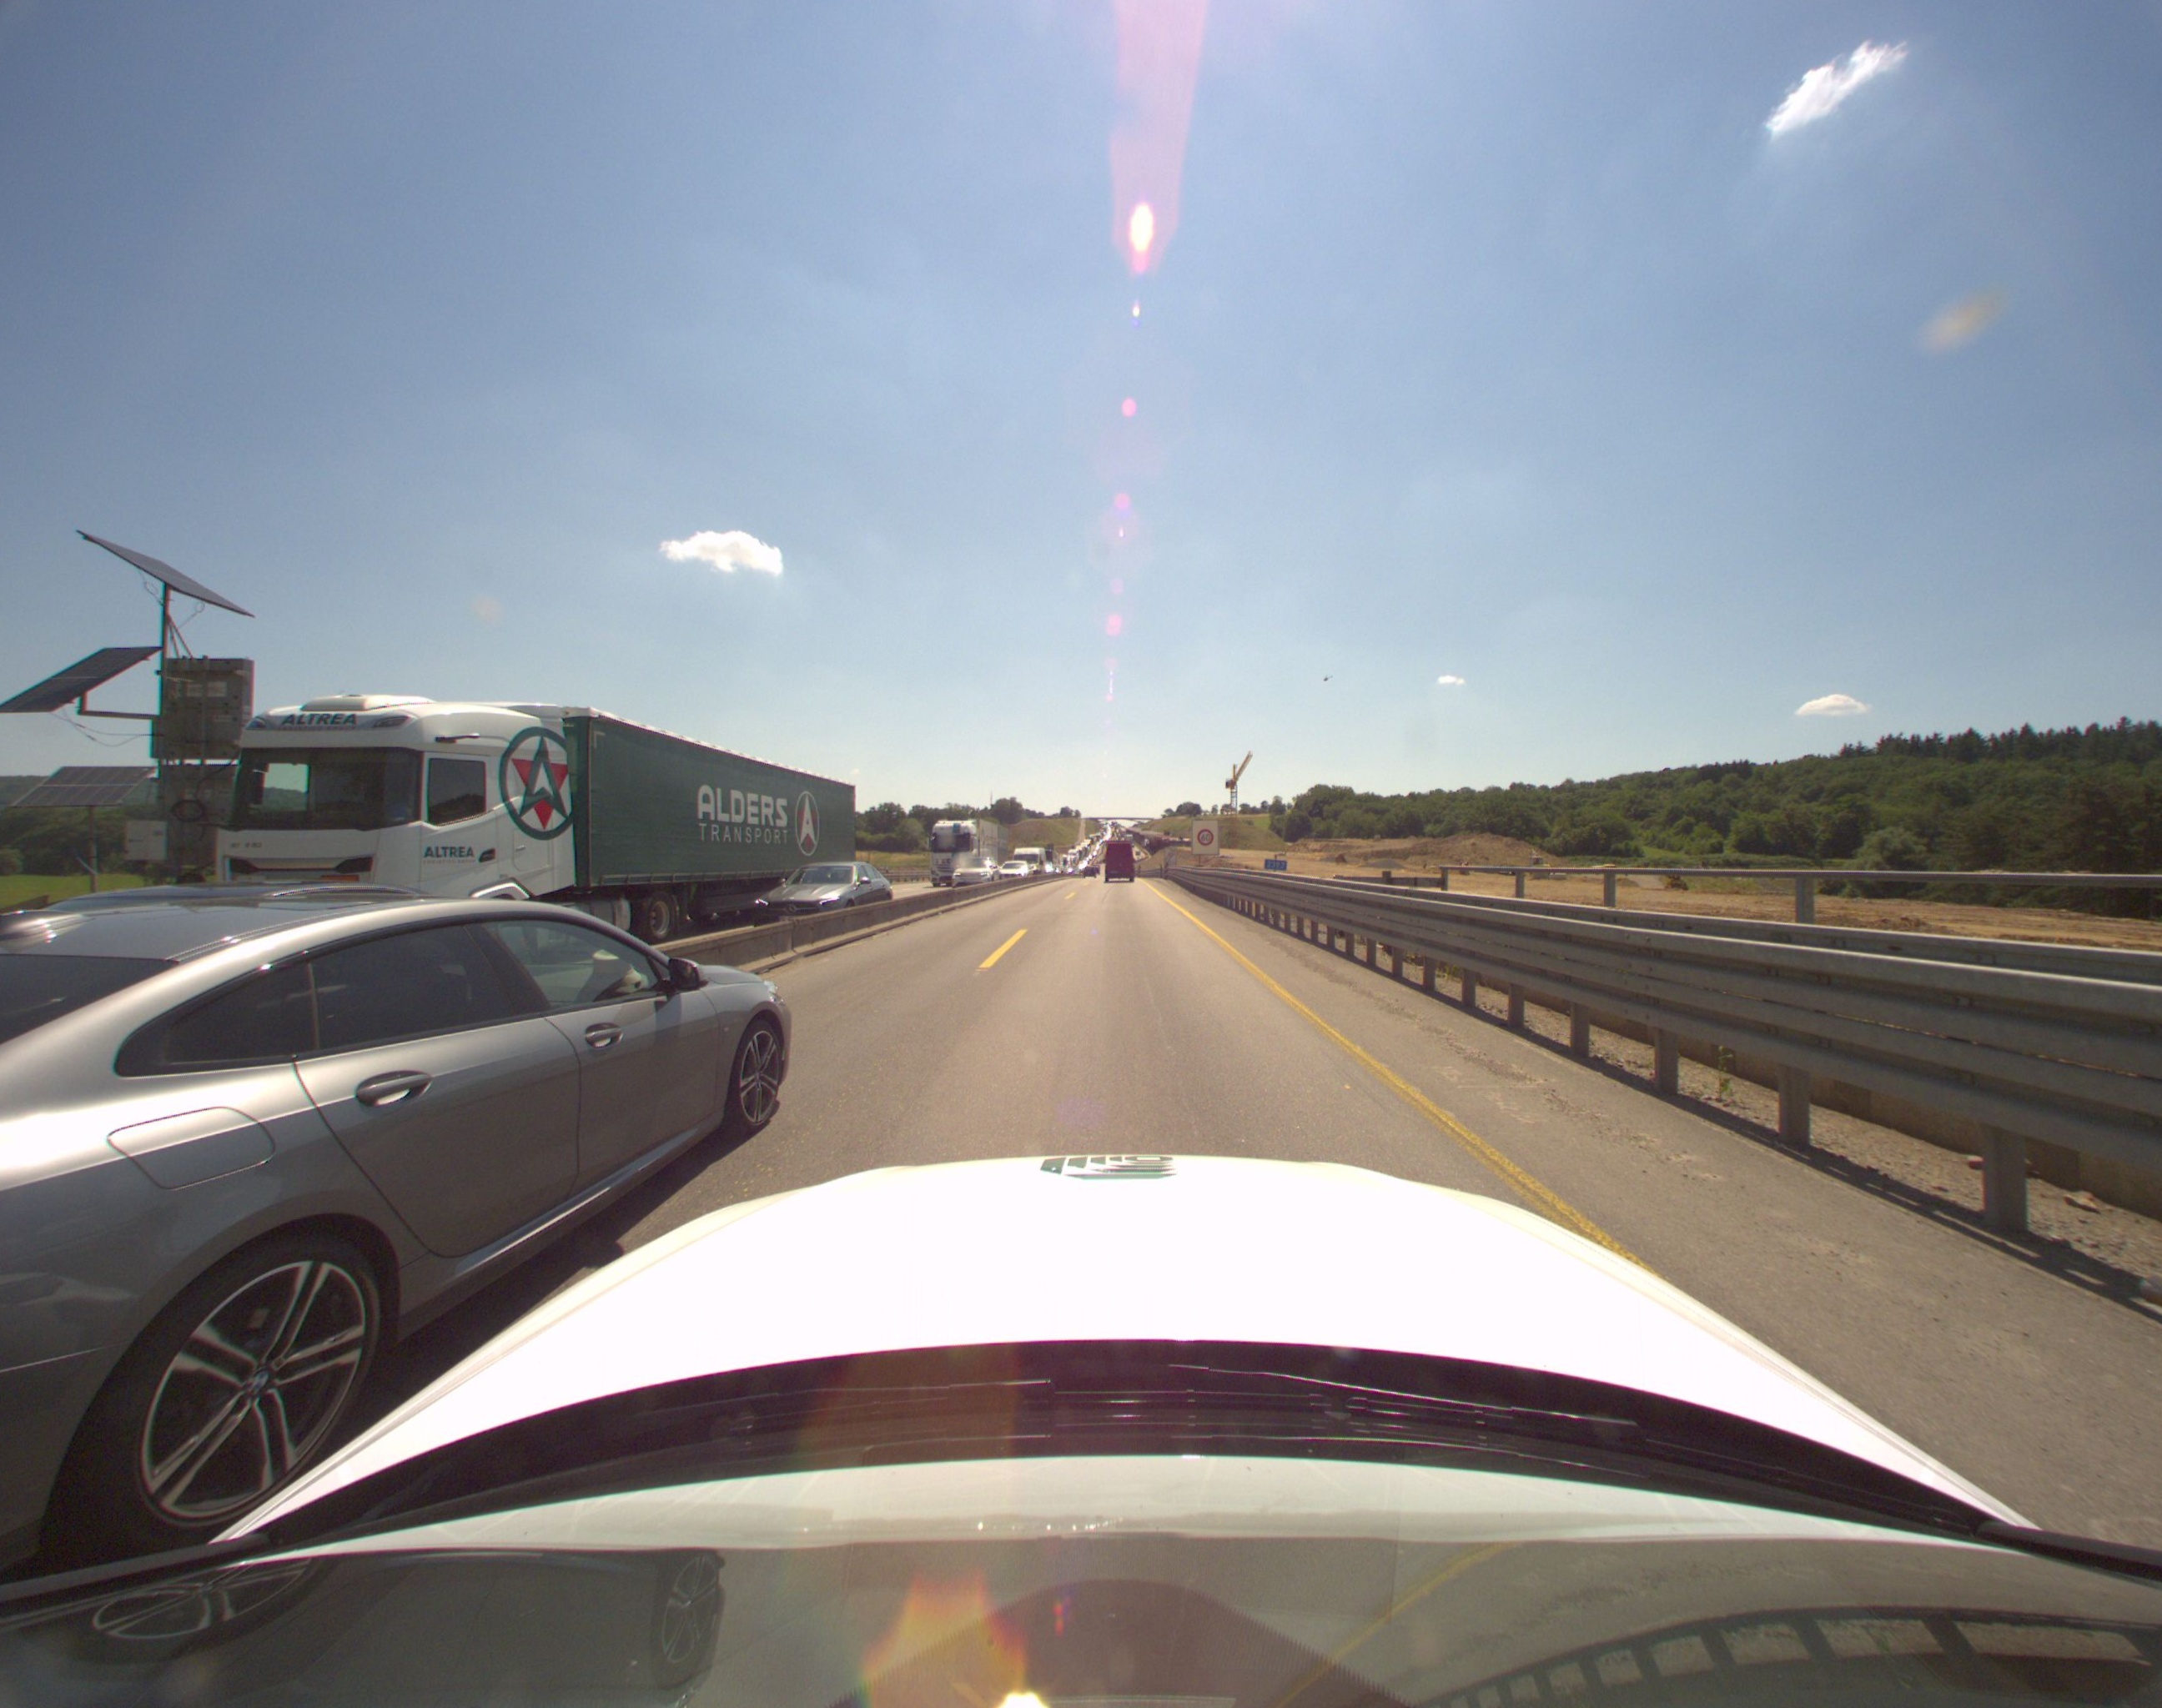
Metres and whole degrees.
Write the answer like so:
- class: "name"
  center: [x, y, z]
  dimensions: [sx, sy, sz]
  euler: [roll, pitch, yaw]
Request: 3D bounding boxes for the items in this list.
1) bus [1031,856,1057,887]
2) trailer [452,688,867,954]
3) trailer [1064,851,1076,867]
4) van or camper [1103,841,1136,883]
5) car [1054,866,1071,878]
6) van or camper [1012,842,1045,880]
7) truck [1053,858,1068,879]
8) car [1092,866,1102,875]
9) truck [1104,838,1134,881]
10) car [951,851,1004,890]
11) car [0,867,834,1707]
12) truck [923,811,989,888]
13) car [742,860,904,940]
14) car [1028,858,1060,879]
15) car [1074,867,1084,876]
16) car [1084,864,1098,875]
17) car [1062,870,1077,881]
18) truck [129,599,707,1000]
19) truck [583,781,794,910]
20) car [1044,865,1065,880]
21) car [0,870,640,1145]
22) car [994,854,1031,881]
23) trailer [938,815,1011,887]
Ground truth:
- class: "bus"
  center: [-5.348, 2.466, 120.786]
  dimensions: [2.729, 4.264, 14.480]
  euler: [1, 0, 1]
- class: "trailer"
  center: [-8.927, -0.562, 20.434]
  dimensions: [3.089, 4.465, 13.027]
  euler: [-1, 0, 2]
- class: "trailer"
  center: [-3.068, 1.374, 221.483]
  dimensions: [2.585, 4.257, 12.473]
  euler: [-1, 0, 2]
- class: "van or camper"
  center: [2.588, 0.556, 55.578]
  dimensions: [2.023, 2.744, 4.514]
  euler: [0, 0, 0]
- class: "car"
  center: [-2.270, 2.248, 101.588]
  dimensions: [1.831, 1.443, 4.931]
  euler: [1, 0, 1]
- class: "van or camper"
  center: [-3.740, 0.474, 59.115]
  dimensions: [2.213, 2.511, 6.528]
  euler: [1, 0, -2]
- class: "truck"
  center: [-4.052, 2.836, 160.574]
  dimensions: [2.970, 4.185, 5.869]
  euler: [0, -1, -2]
- class: "car"
  center: [3.160, 3.258, 161.477]
  dimensions: [2.005, 1.545, 4.133]
  euler: [1, 0, 1]
- class: "truck"
  center: [4.286, 0.612, 93.118]
  dimensions: [3.011, 4.693, 6.931]
  euler: [-2, 0, 0]
- class: "car"
  center: [-4.651, 0.713, 37.119]
  dimensions: [1.750, 1.646, 4.157]
  euler: [1, 0, 1]
- class: "car"
  center: [-2.738, 0.836, 3.337]
  dimensions: [1.845, 1.452, 4.744]
  euler: [-1, 0, 2]
- class: "truck"
  center: [-7.548, -0.235, 49.916]
  dimensions: [2.795, 4.392, 6.228]
  euler: [-1, 0, 2]
- class: "car"
  center: [-5.414, 0.887, 17.802]
  dimensions: [1.858, 1.459, 4.610]
  euler: [1, 0, 2]
- class: "car"
  center: [-3.293, 1.249, 73.391]
  dimensions: [2.362, 1.726, 5.784]
  euler: [1, 0, 2]
- class: "car"
  center: [-0.356, 3.665, 170.972]
  dimensions: [1.987, 1.631, 4.758]
  euler: [1, 0, 1]
- class: "car"
  center: [1.398, 2.152, 114.527]
  dimensions: [2.005, 1.545, 4.132]
  euler: [0, 0, 0]
- class: "car"
  center: [-1.570, 2.972, 113.556]
  dimensions: [1.911, 1.423, 5.092]
  euler: [2, 0, 1]
- class: "truck"
  center: [-9.231, -0.609, 12.857]
  dimensions: [3.065, 4.537, 7.107]
  euler: [-1, 0, 3]
- class: "truck"
  center: [-12.921, -0.265, 27.936]
  dimensions: [2.893, 3.765, 8.372]
  euler: [0, 0, 2]
- class: "car"
  center: [-2.736, 1.903, 85.351]
  dimensions: [1.875, 1.432, 5.126]
  euler: [1, 0, 1]
- class: "car"
  center: [-5.916, 0.899, 6.845]
  dimensions: [1.770, 1.420, 4.540]
  euler: [1, 0, 2]
- class: "car"
  center: [-4.037, 0.762, 48.764]
  dimensions: [1.988, 1.498, 4.970]
  euler: [1, 0, -2]
- class: "trailer"
  center: [-7.225, -0.091, 57.418]
  dimensions: [2.804, 4.430, 13.175]
  euler: [-1, -1, 3]
